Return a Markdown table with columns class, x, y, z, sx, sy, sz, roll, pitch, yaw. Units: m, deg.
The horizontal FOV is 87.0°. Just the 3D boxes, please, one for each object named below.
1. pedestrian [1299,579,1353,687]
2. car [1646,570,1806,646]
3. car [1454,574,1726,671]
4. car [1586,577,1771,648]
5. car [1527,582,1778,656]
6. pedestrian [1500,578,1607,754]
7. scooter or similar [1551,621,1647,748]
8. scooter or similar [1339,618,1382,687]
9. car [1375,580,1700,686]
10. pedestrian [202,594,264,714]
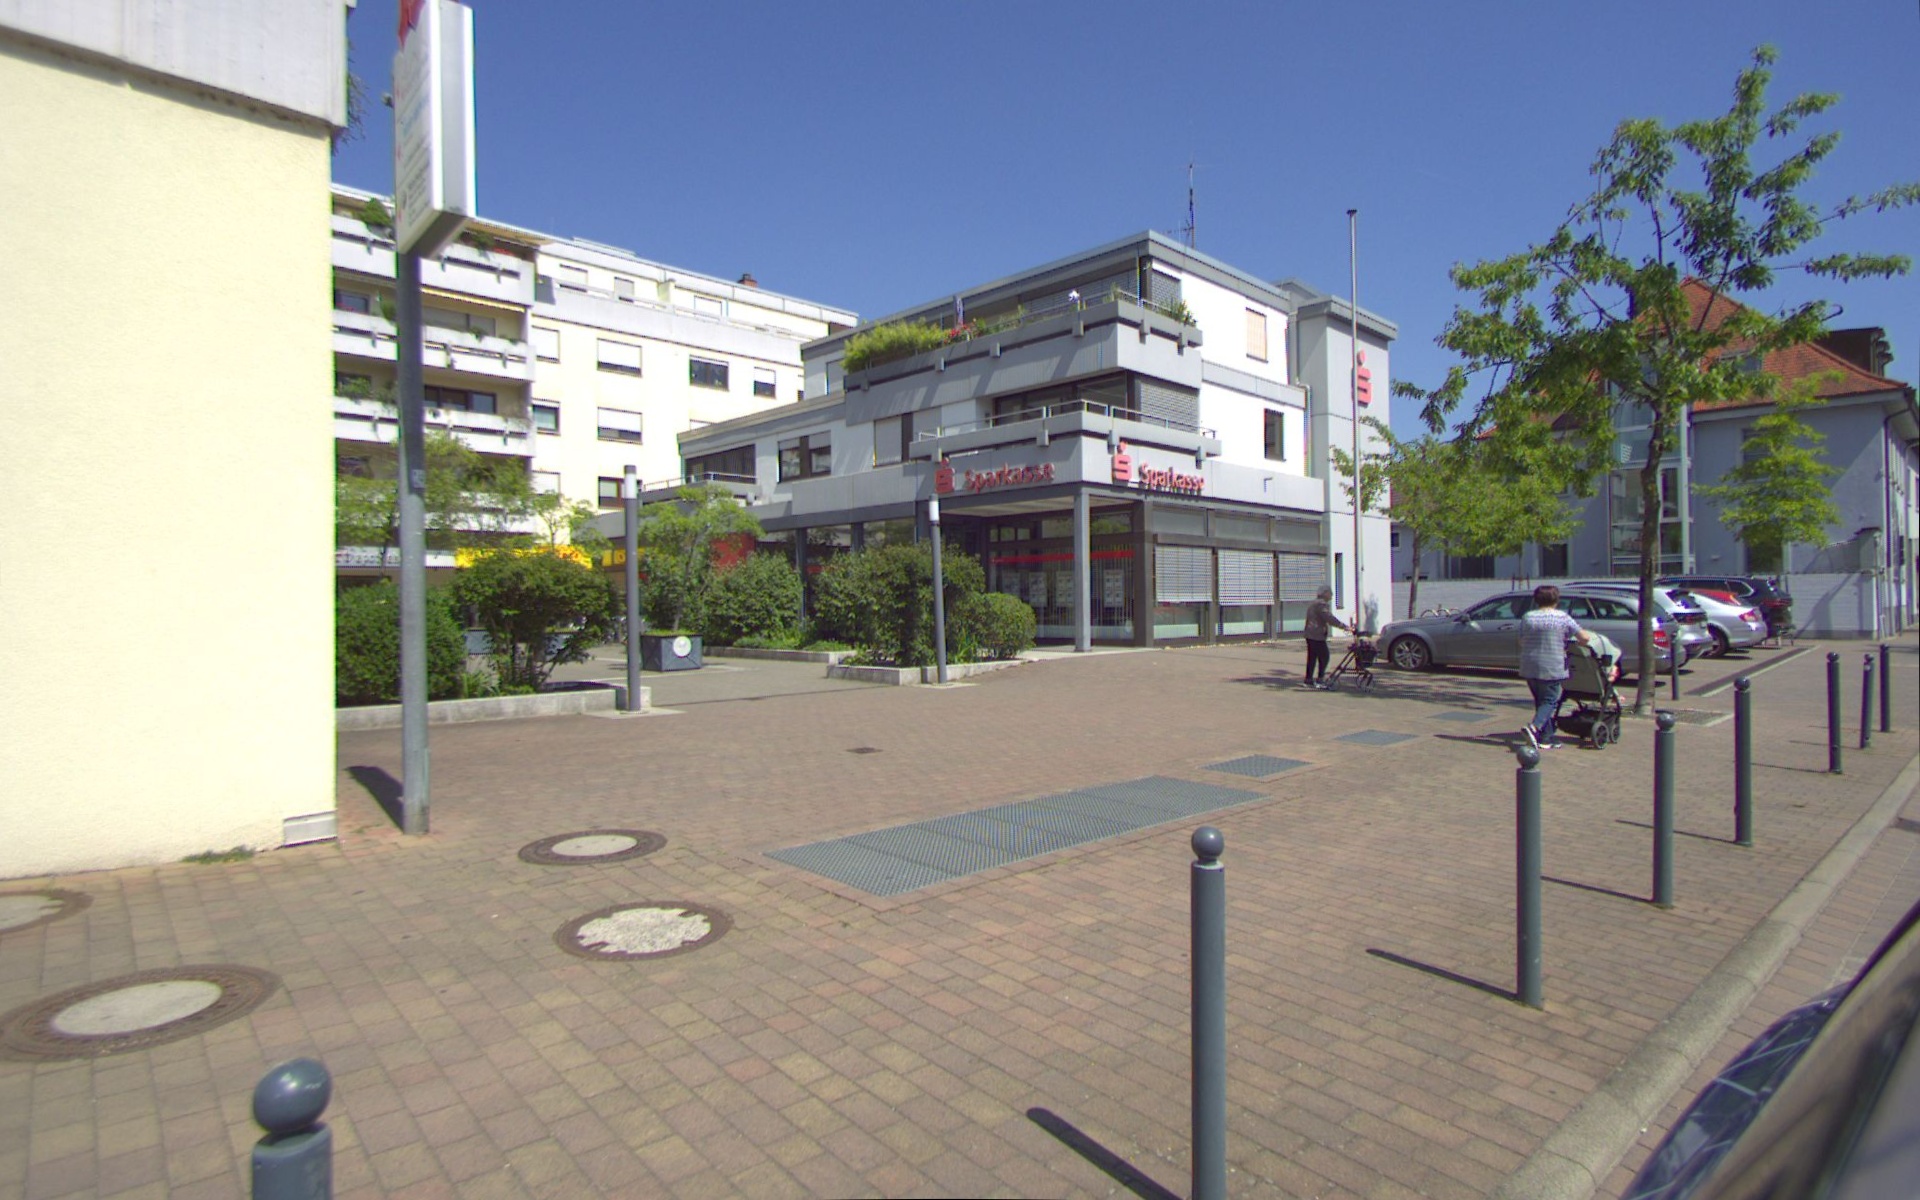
| class | x | y | z | sx | sy | sz | roll | pitch | yaw |
| --- | --- | --- | --- | --- | --- | --- | --- | --- | --- |
| pedestrian | 5.308 | 0.461 | 14.684 | 0.715 | 1.520 | 0.528 | 0 | 0 | 21 |
| car | 18.953 | 0.150 | 25.098 | 3.032 | 1.759 | 1.324 | 1 | 1 | 44 |
| car | 11.547 | 0.330 | 18.699 | 4.033 | 1.579 | 1.686 | 1 | 1 | 43 |
| car | 17.046 | 0.265 | 24.087 | 3.421 | 1.571 | 1.467 | 0 | 0 | 45 |
| car | 15.219 | 0.349 | 22.389 | 4.429 | 1.460 | 1.632 | 1 | 1 | 42 |
| pedestrian | 5.506 | 0.573 | 9.383 | 1.029 | 1.535 | 0.513 | 0 | 1 | -39 |
| scooter or similar | 6.205 | 0.791 | 9.823 | 0.892 | 1.132 | 0.506 | 0 | 1 | -38 |
| scooter or similar | 5.738 | 0.742 | 14.517 | 0.540 | 0.958 | 0.533 | 0 | 0 | 19 |
| car | 9.448 | 0.439 | 16.817 | 4.432 | 1.484 | 1.664 | 2 | 2 | 44 |
| pedestrian | -9.407 | 0.671 | 13.089 | 0.594 | 1.482 | 0.794 | 0 | 0 | -40 |
